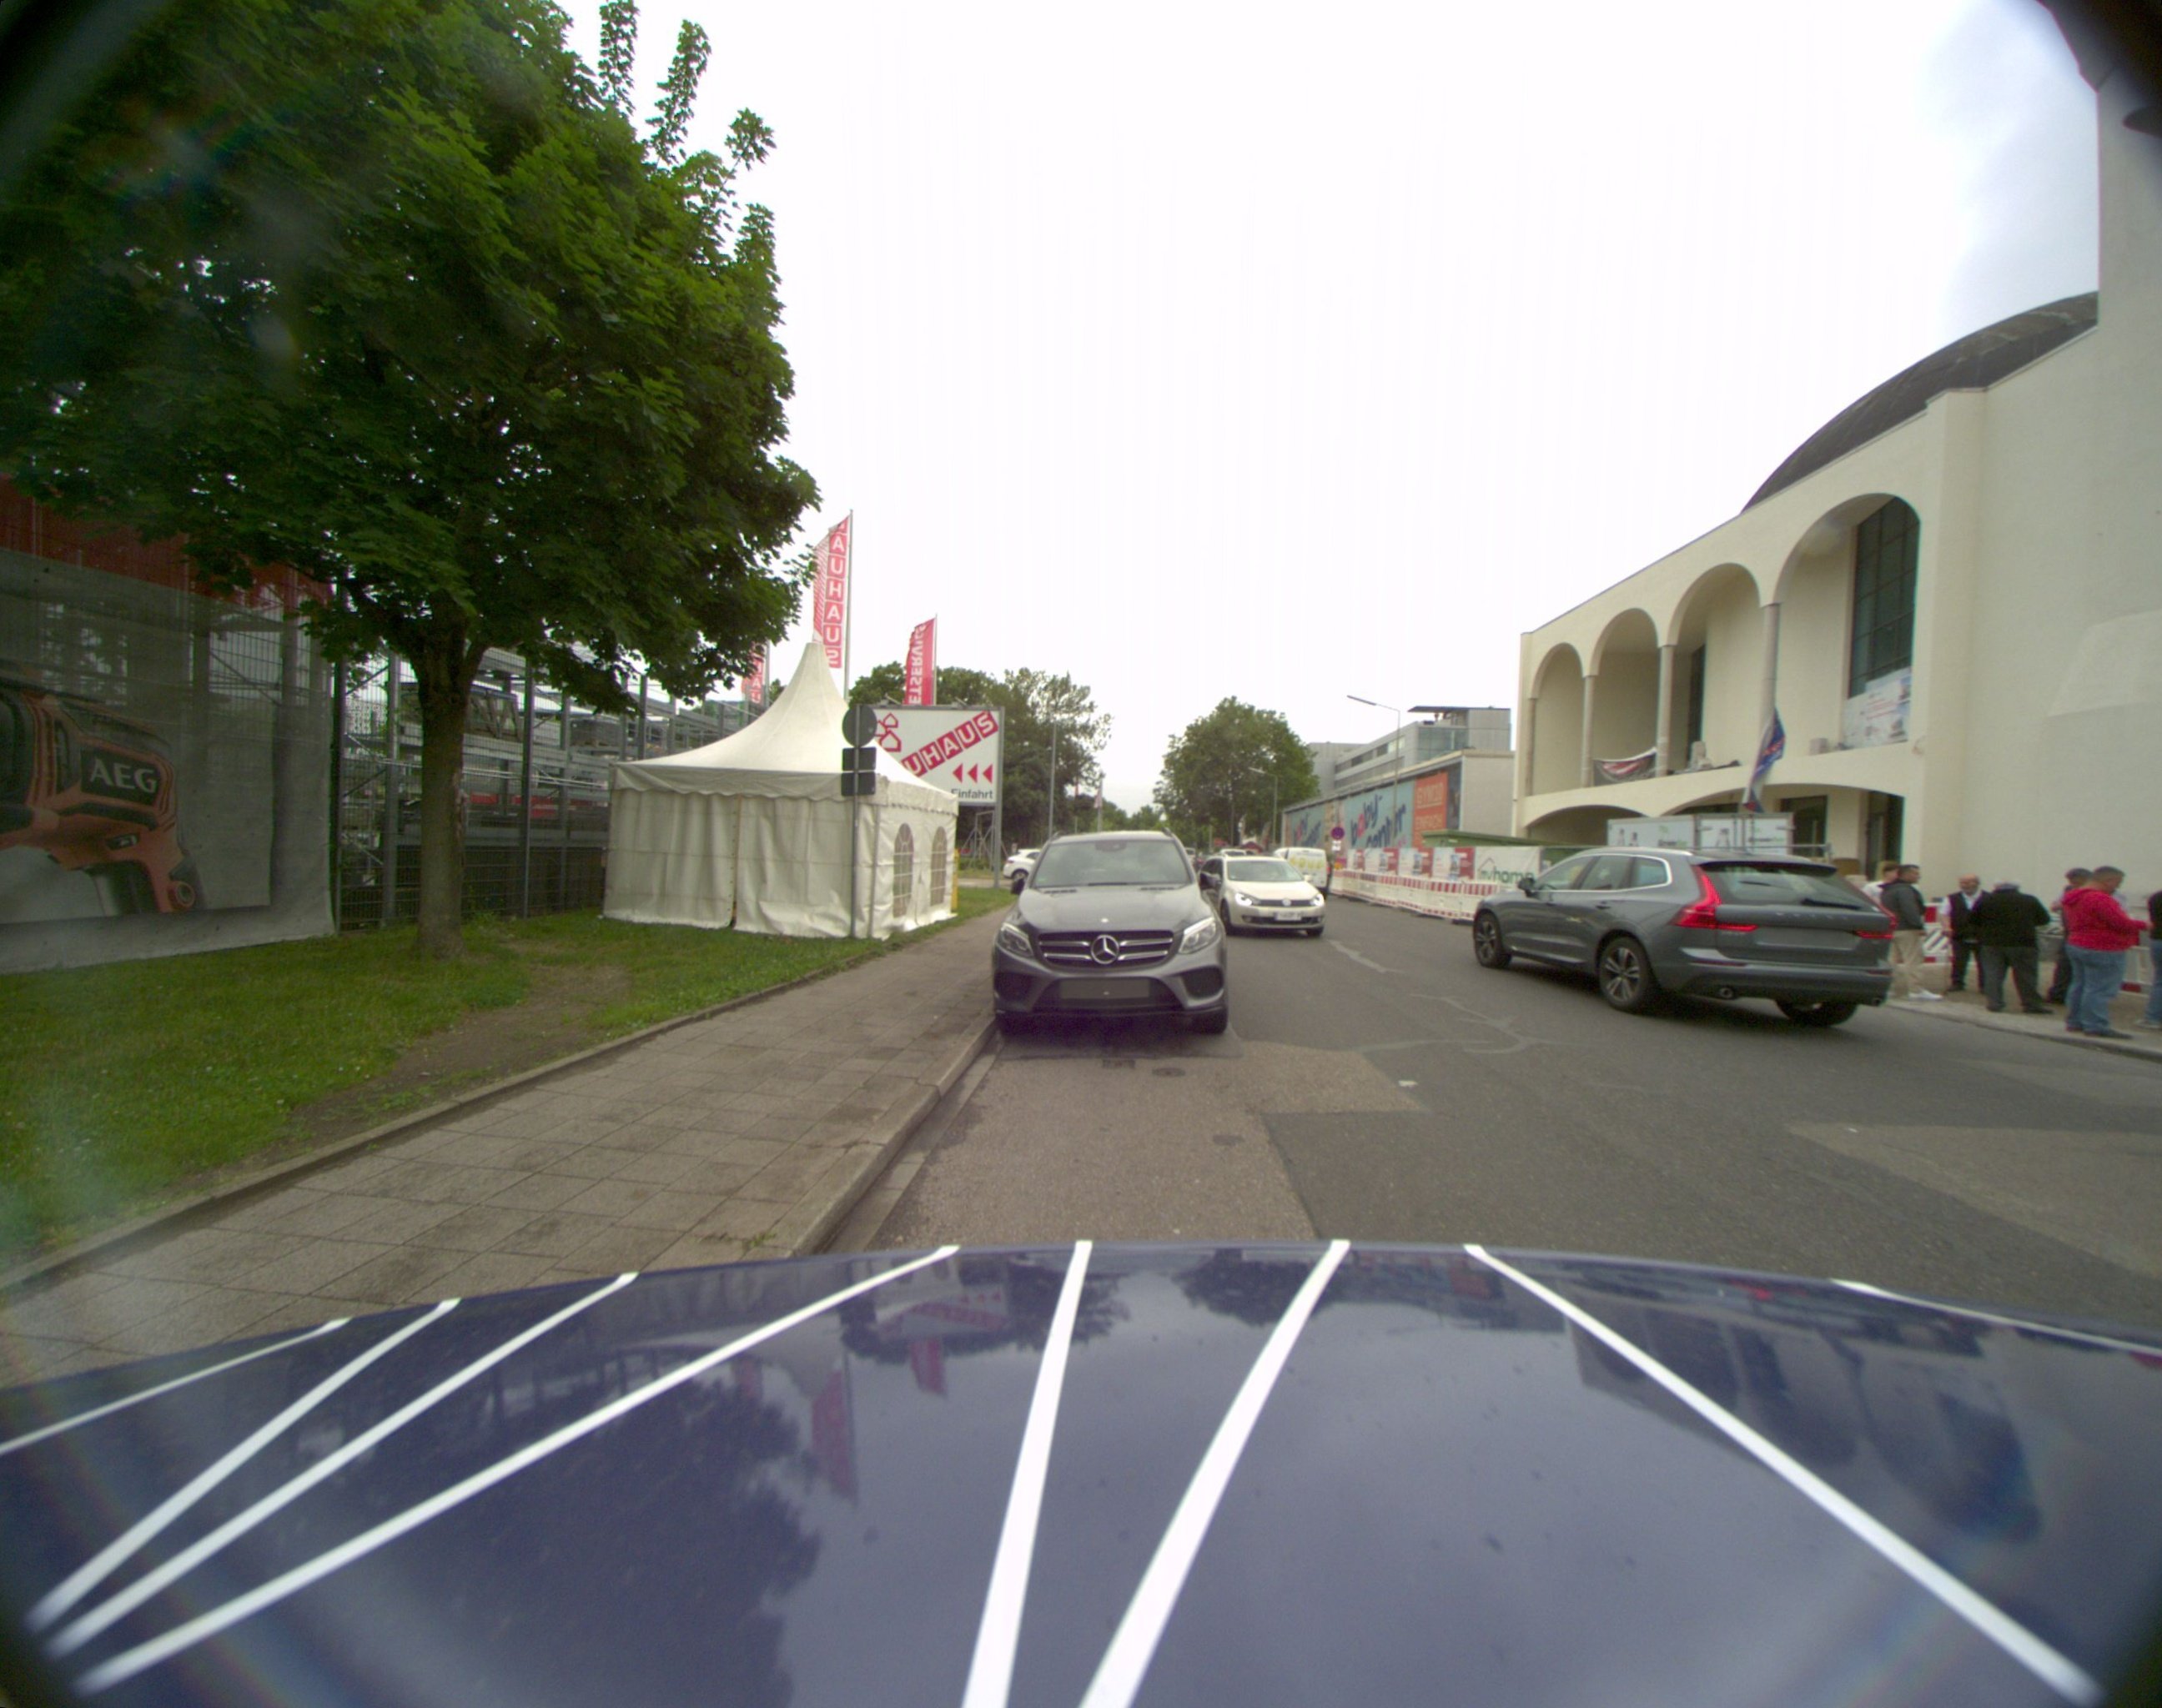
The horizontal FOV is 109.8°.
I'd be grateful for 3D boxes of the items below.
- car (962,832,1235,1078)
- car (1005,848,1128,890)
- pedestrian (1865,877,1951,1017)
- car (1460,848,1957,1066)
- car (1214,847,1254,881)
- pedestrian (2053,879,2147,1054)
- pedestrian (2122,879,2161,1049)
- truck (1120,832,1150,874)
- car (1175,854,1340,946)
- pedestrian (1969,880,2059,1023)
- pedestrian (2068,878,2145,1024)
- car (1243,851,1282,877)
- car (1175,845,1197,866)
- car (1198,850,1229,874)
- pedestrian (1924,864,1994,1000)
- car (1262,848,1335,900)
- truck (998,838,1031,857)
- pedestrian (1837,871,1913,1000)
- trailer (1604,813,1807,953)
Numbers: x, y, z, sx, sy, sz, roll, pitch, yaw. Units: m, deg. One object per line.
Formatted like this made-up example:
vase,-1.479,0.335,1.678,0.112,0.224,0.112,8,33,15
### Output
car,0.314,0.710,7.651,1.912,1.731,4.481,-1,1,5
car,-0.543,0.545,28.793,4.492,1.420,1.939,1,2,0
pedestrian,10.750,1.180,9.898,0.689,1.738,0.492,-2,-2,45
car,6.259,0.825,8.496,1.937,1.674,4.496,3,1,4
car,8.962,0.534,44.879,1.798,1.797,4.384,3,2,6
pedestrian,10.359,1.104,7.725,0.534,1.682,0.512,0,-2,-35
pedestrian,11.360,1.117,7.797,0.689,1.707,0.694,0,-1,-41
truck,3.587,-0.075,50.108,1.852,2.598,4.001,-1,1,4
car,3.226,0.762,14.812,1.758,1.443,4.293,0,1,-7
pedestrian,10.975,1.114,8.958,0.570,1.601,0.492,-2,-2,43
pedestrian,12.068,1.114,8.947,0.541,1.603,0.489,-6,5,-35
car,12.418,0.661,52.126,1.928,1.565,4.150,5,1,5
car,11.029,0.109,79.928,1.931,2.002,4.956,2,1,5
car,9.520,0.543,54.878,1.733,1.563,3.947,3,1,5
pedestrian,11.660,1.015,10.095,0.492,1.738,0.527,0,-2,-36
car,7.954,0.670,28.163,1.693,1.751,4.135,2,1,4
truck,-9.056,-0.890,103.489,1.994,2.383,4.009,3,1,44
pedestrian,11.141,1.109,10.682,0.689,1.738,0.492,-2,-2,45
trailer,13.016,0.531,16.109,1.801,2.592,3.193,2,1,7
